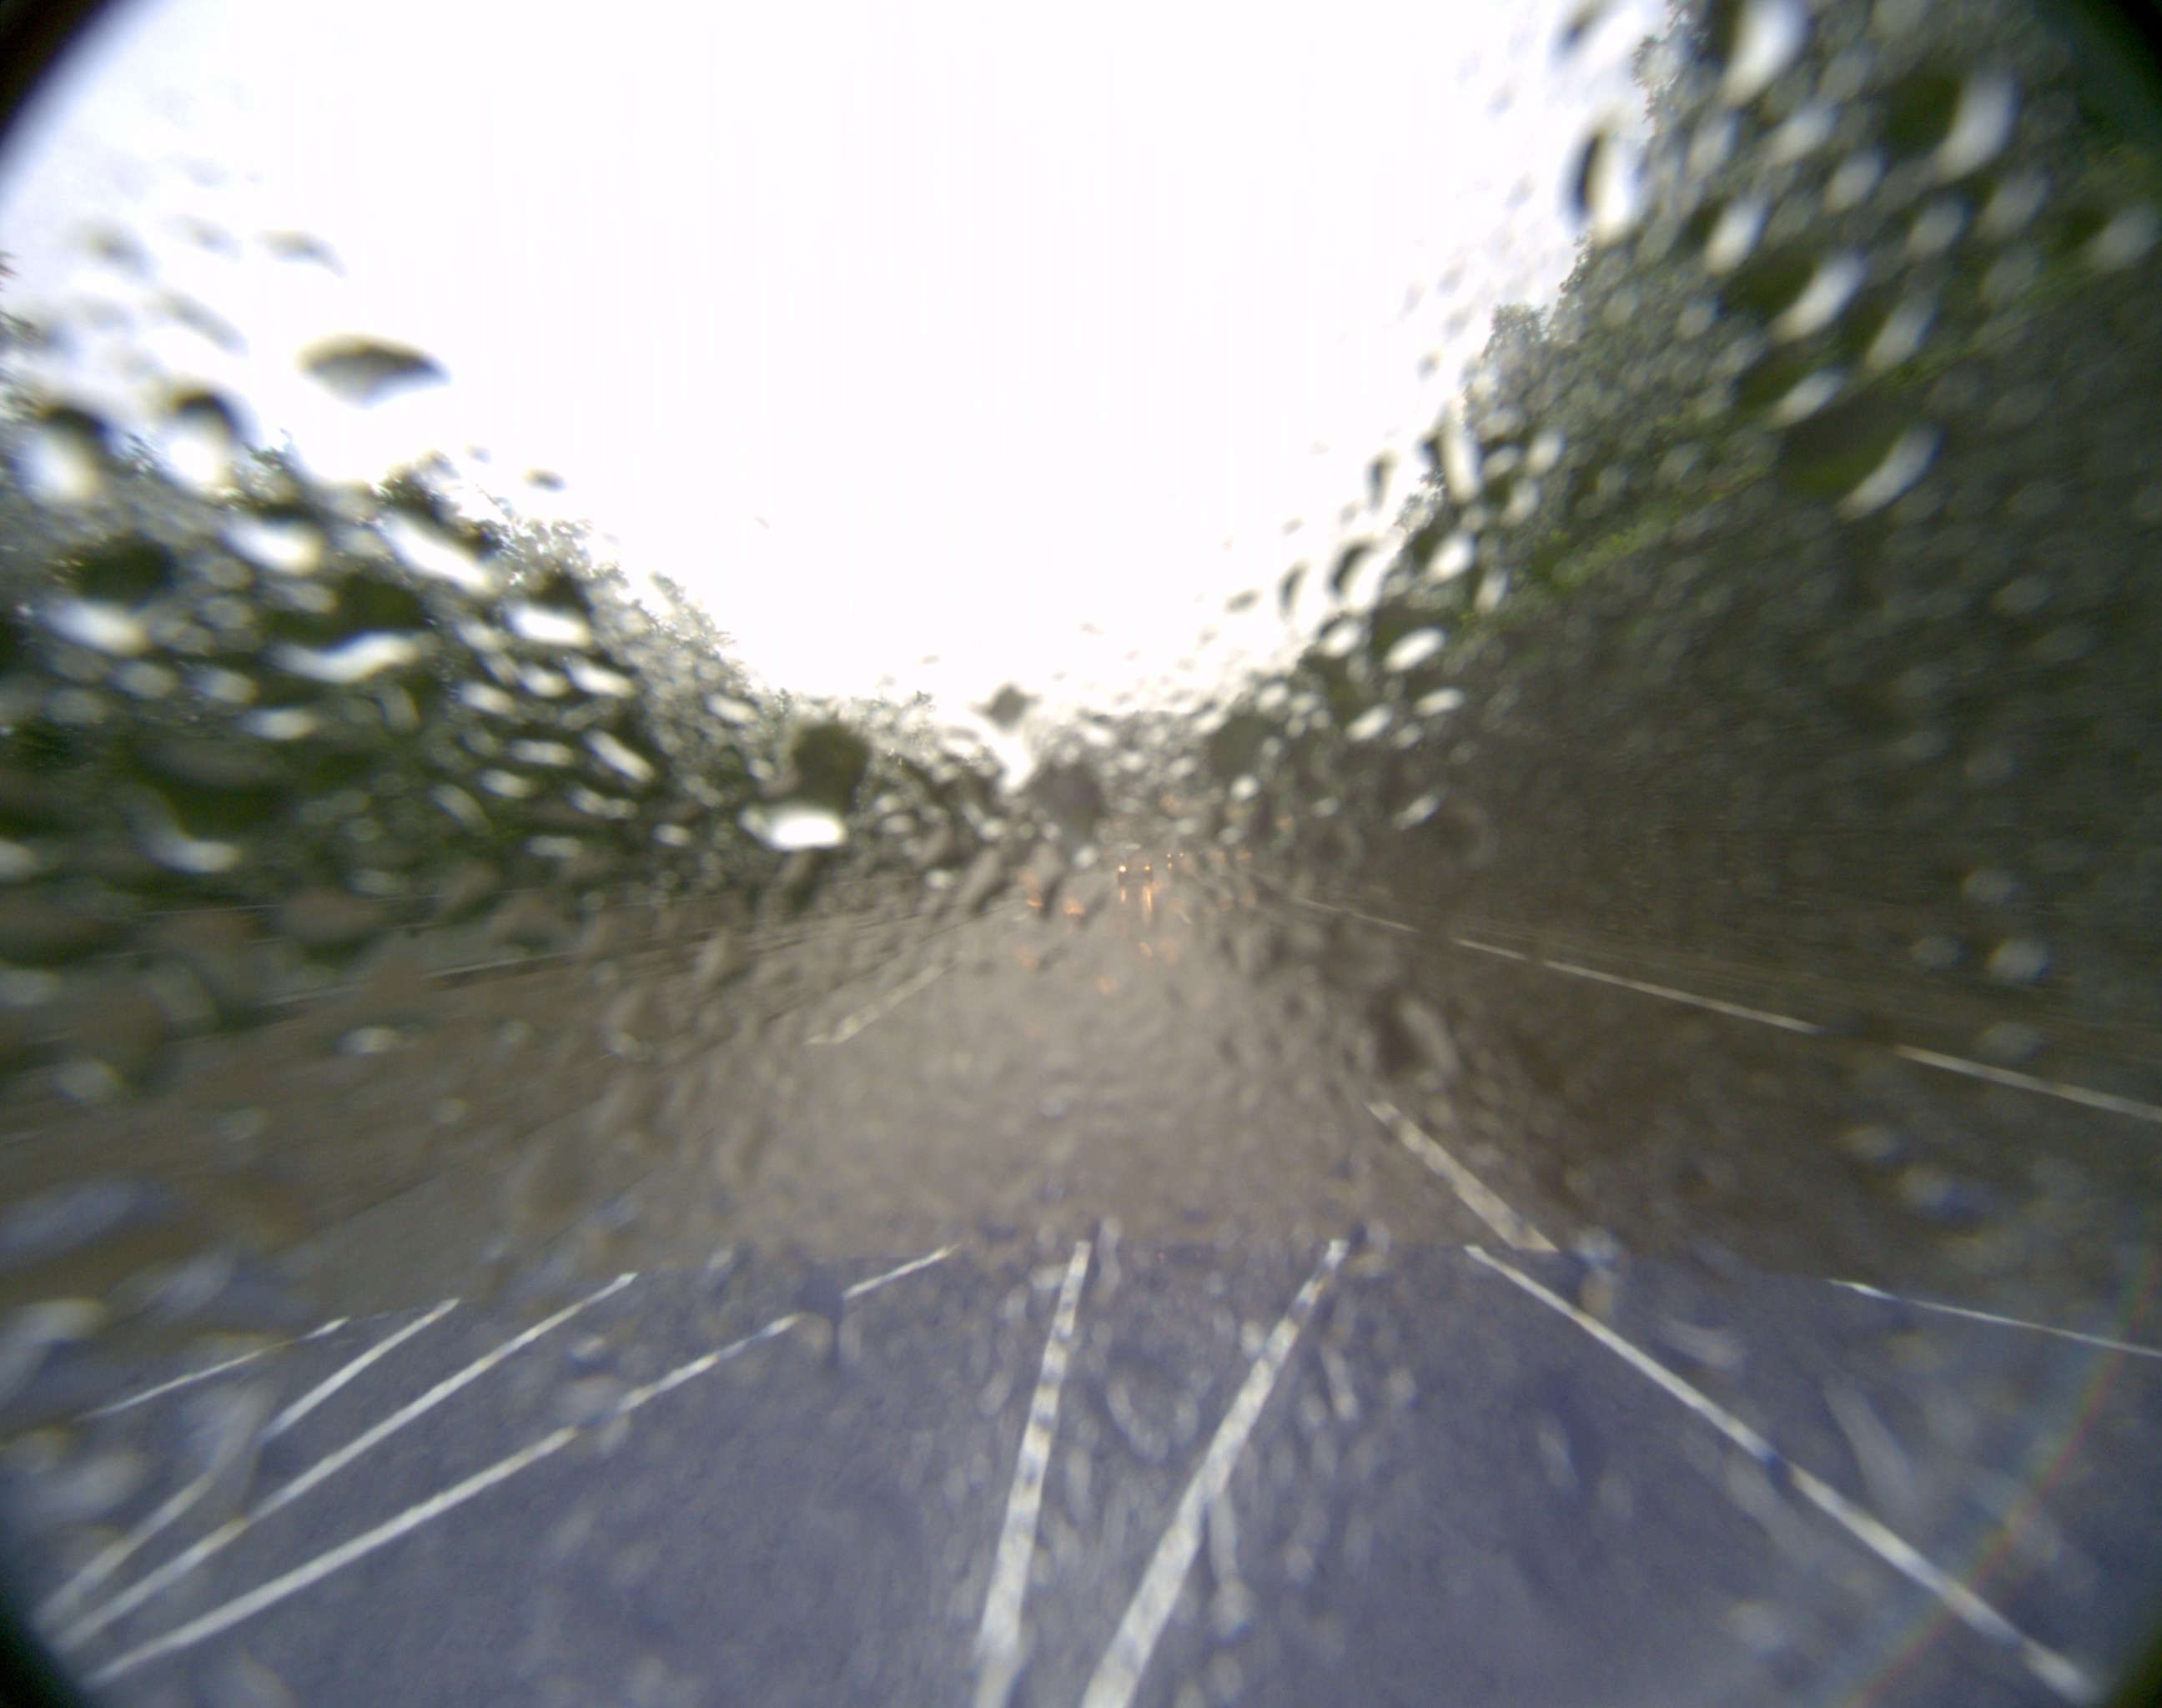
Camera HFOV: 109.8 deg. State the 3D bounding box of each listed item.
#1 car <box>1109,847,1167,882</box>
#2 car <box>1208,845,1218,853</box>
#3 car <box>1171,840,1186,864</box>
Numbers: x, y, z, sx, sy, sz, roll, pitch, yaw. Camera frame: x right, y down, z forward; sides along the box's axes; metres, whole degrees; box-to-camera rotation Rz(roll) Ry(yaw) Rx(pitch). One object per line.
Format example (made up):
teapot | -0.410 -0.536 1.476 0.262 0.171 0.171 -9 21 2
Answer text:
car | 2.999 0.478 38.705 2.358 1.549 5.502 -2 1 11
car | 26.902 -1.062 154.644 1.736 1.656 3.870 -2 0 14
car | 12.788 -0.322 99.765 1.741 3.008 4.002 -3 1 7
